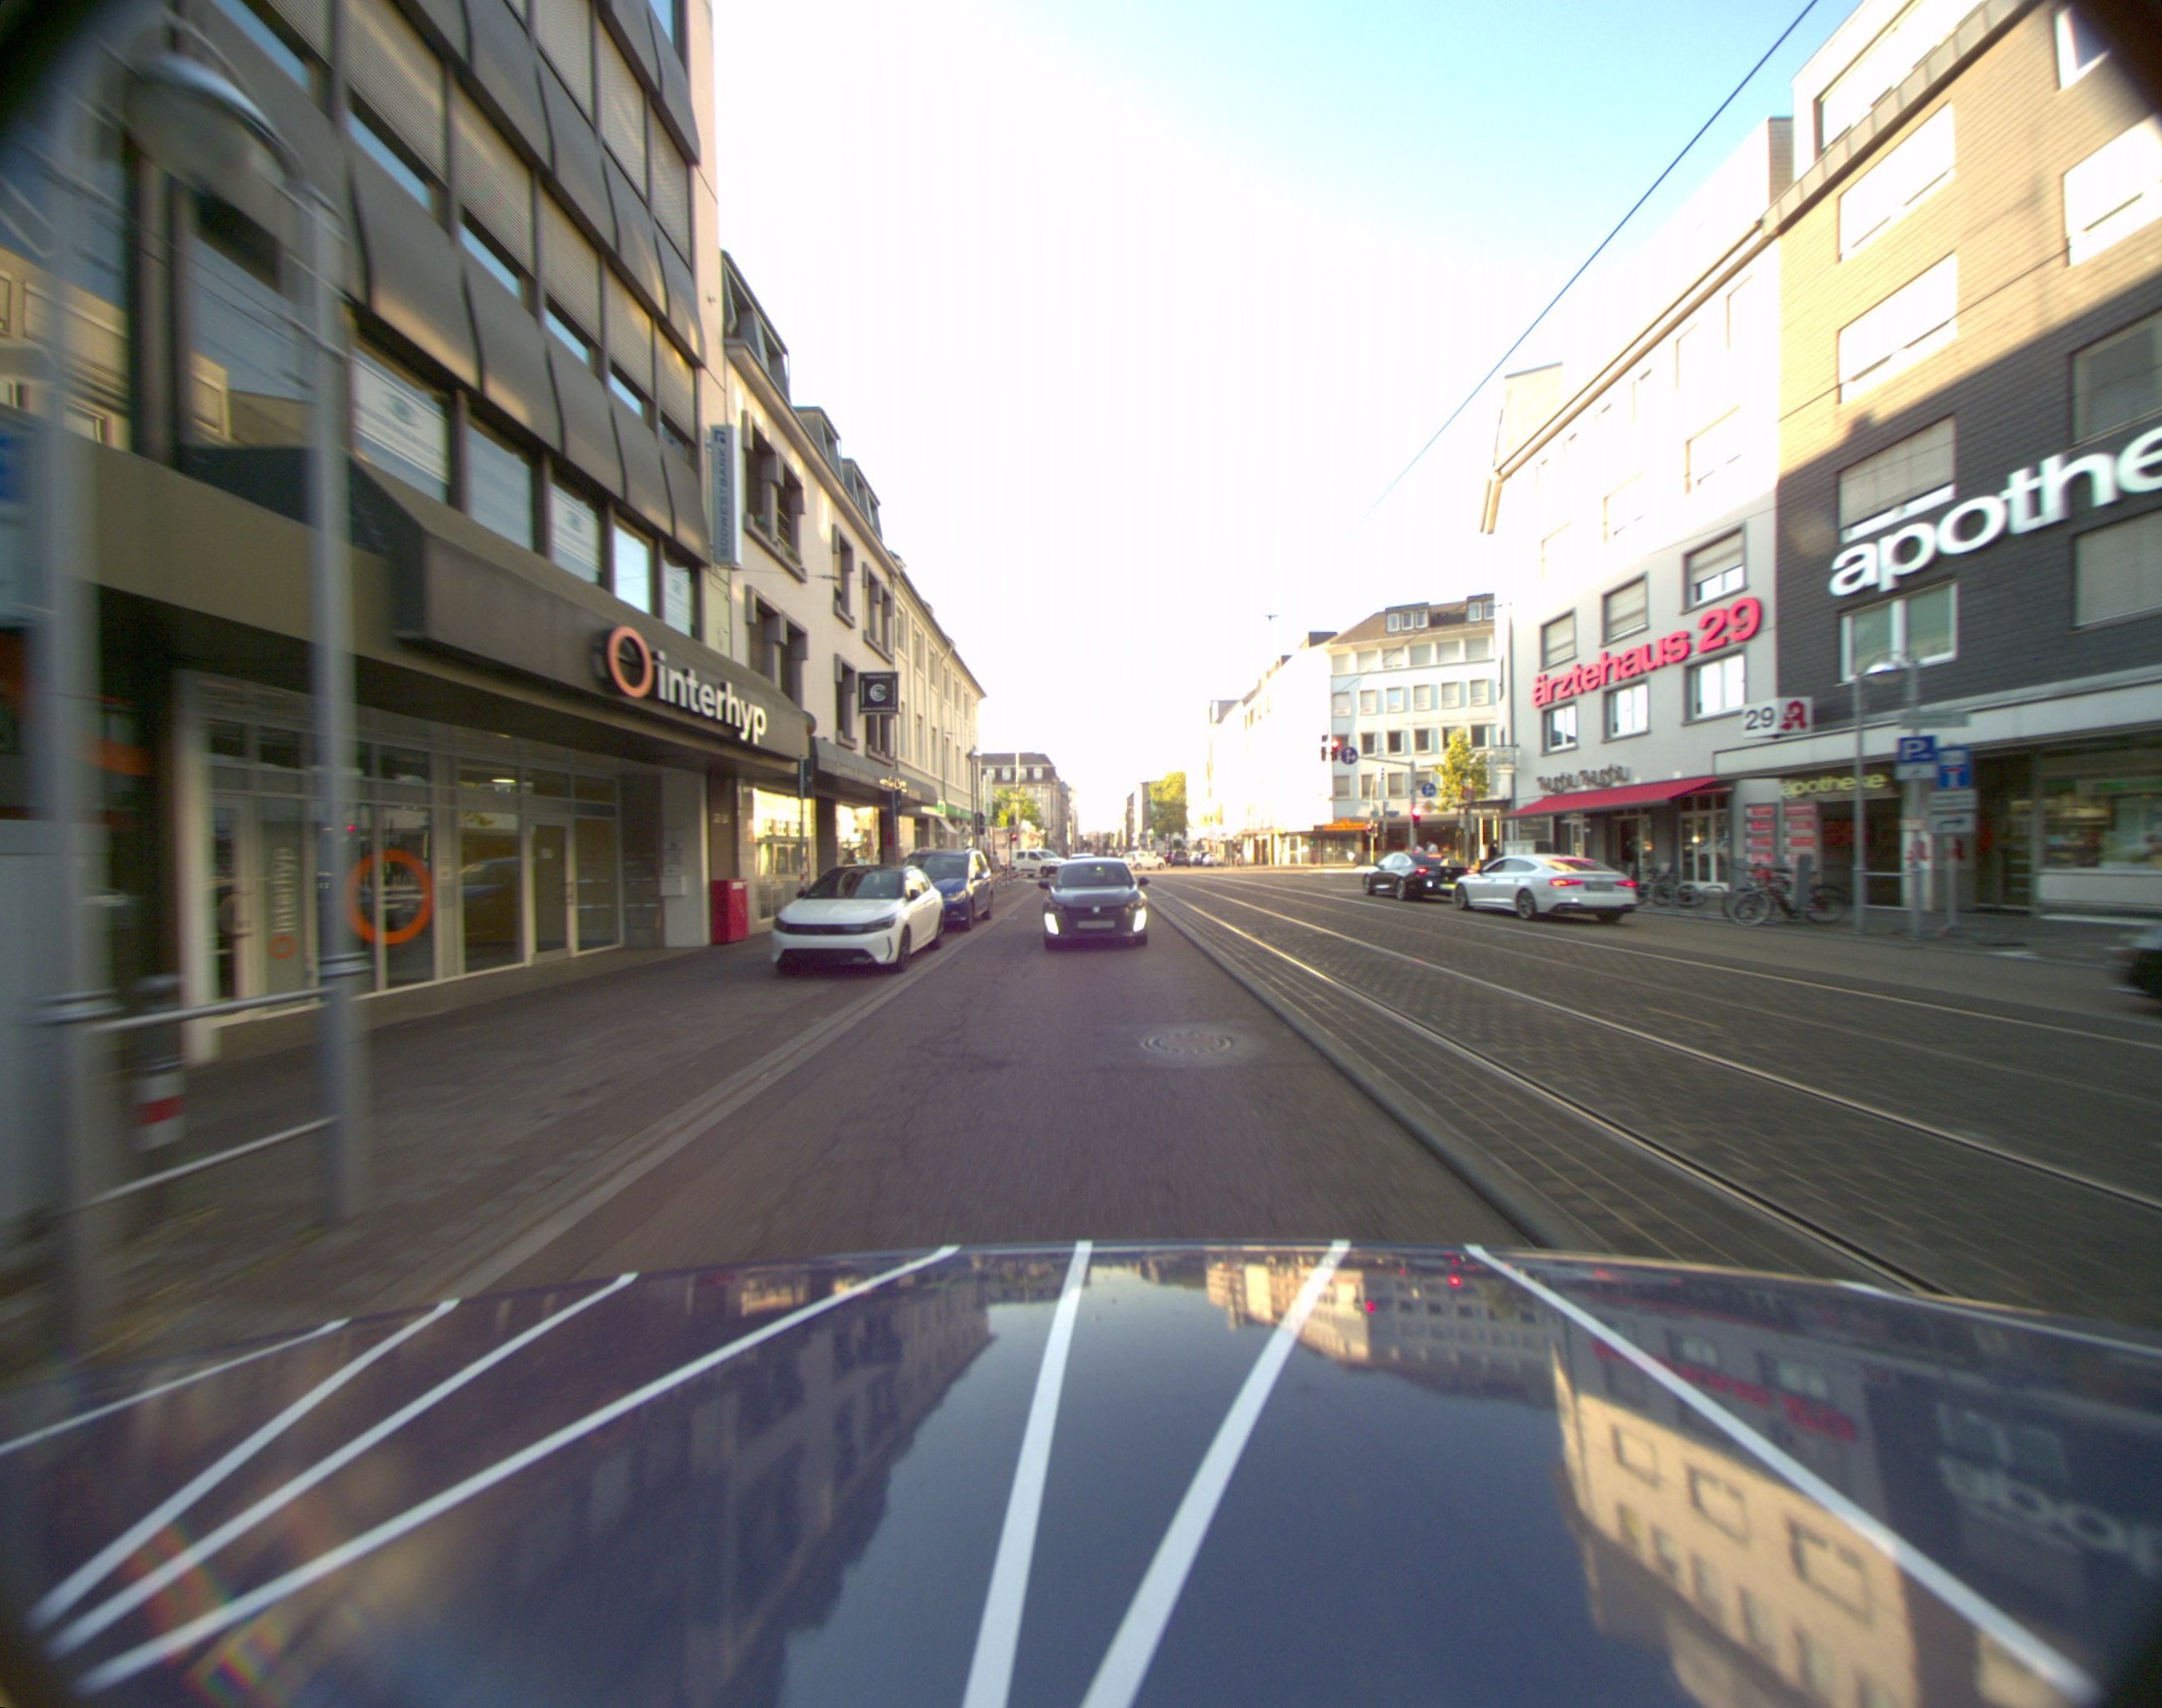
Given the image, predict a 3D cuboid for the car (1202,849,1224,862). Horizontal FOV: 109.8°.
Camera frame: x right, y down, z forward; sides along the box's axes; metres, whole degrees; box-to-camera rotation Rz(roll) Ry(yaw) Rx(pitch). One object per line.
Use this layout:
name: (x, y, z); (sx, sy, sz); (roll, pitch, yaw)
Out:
car: (13.492, 0.188, 77.815); (1.636, 1.246, 3.389); (-4, 0, 1)

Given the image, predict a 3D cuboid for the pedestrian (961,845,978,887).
pedestrian: (-5.106, 0.529, 34.783); (0.663, 1.917, 0.879); (0, 1, -1)

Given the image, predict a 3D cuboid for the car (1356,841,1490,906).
car: (10.124, 0.507, 22.952); (1.998, 1.717, 4.727); (1, 1, 2)

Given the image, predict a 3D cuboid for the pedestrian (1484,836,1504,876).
pedestrian: (17.499, 0.102, 32.206); (0.712, 1.667, 0.704); (-1, 1, 25)

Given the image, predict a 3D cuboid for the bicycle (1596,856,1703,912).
bicycle: (13.821, 0.720, 18.503); (2.117, 1.217, 0.553); (-3, 1, 1)

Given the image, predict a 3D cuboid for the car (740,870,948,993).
car: (-3.246, 0.996, 11.262); (1.800, 1.424, 3.887); (0, 0, 1)

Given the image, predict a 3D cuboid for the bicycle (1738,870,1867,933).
bicycle: (13.359, 0.872, 14.091); (1.835, 1.041, 0.489); (-3, -1, 1)

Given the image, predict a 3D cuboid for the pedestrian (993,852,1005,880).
pedestrian: (-5.187, 0.746, 47.948); (0.694, 1.732, 0.653); (-1, 1, -8)

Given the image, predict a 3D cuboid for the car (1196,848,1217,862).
car: (13.582, 0.102, 82.378); (1.636, 1.345, 3.389); (-4, 0, 1)

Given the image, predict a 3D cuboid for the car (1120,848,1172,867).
car: (5.272, 0.267, 61.255); (3.992, 1.463, 1.715); (-2, 1, -36)

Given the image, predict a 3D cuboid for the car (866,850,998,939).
car: (-3.167, 0.789, 17.176); (1.998, 1.717, 4.576); (0, 1, 1)

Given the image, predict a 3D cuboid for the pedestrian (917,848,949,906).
pedestrian: (-4.616, 0.701, 23.717); (0.768, 1.795, 0.928); (0, 1, 2)

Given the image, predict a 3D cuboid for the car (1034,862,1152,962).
car: (0.248, 0.905, 13.512); (1.750, 1.434, 3.906); (-2, 0, 2)

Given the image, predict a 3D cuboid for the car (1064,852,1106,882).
car: (0.151, 0.626, 39.146); (1.828, 1.463, 3.983); (-1, 0, -4)

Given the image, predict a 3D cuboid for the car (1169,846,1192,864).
car: (9.695, 0.108, 74.238); (1.827, 1.688, 4.259); (-1, 0, 1)

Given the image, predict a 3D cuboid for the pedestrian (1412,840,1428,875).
pedestrian: (16.902, 0.159, 37.908); (0.637, 1.734, 0.669); (-1, 1, 18)

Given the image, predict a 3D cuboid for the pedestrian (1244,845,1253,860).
pedestrian: (16.943, -0.129, 76.894); (0.544, 1.463, 0.624); (-5, 1, -15)

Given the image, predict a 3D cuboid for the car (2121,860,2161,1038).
car: (9.726, 0.787, 4.050); (1.998, 1.444, 4.648); (0, 0, 1)

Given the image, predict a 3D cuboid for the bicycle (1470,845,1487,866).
bicycle: (25.675, 0.061, 49.090); (0.638, 1.246, 2.377); (0, 2, 20)

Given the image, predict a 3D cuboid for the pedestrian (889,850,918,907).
pedestrian: (-5.369, 0.730, 23.013); (0.651, 1.708, 0.678); (1, 1, 2)

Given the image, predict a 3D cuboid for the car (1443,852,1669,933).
car: (10.007, 0.712, 16.568); (1.998, 1.444, 4.655); (1, 1, 0)

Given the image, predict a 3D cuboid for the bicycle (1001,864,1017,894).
bicycle: (-2.899, 1.001, 30.699); (0.535, 1.140, 1.490); (-1, 1, -1)

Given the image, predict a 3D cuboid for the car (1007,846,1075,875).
car: (-2.627, 0.404, 48.994); (4.272, 1.787, 1.832); (-1, 1, 40)

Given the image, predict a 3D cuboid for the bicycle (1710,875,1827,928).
bicycle: (13.487, 0.921, 14.922); (1.809, 0.907, 0.456); (-3, -1, 1)

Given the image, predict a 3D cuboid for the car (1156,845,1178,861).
car: (9.752, -0.087, 86.512); (1.805, 1.688, 4.568); (-1, 0, -1)

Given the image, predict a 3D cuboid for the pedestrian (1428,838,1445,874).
pedestrian: (17.644, 0.106, 37.711); (0.637, 1.768, 0.601); (-2, -1, 17)

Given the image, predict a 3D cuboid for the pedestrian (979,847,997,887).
pedestrian: (-4.276, 0.582, 34.925); (0.739, 1.818, 0.850); (0, 1, -1)
